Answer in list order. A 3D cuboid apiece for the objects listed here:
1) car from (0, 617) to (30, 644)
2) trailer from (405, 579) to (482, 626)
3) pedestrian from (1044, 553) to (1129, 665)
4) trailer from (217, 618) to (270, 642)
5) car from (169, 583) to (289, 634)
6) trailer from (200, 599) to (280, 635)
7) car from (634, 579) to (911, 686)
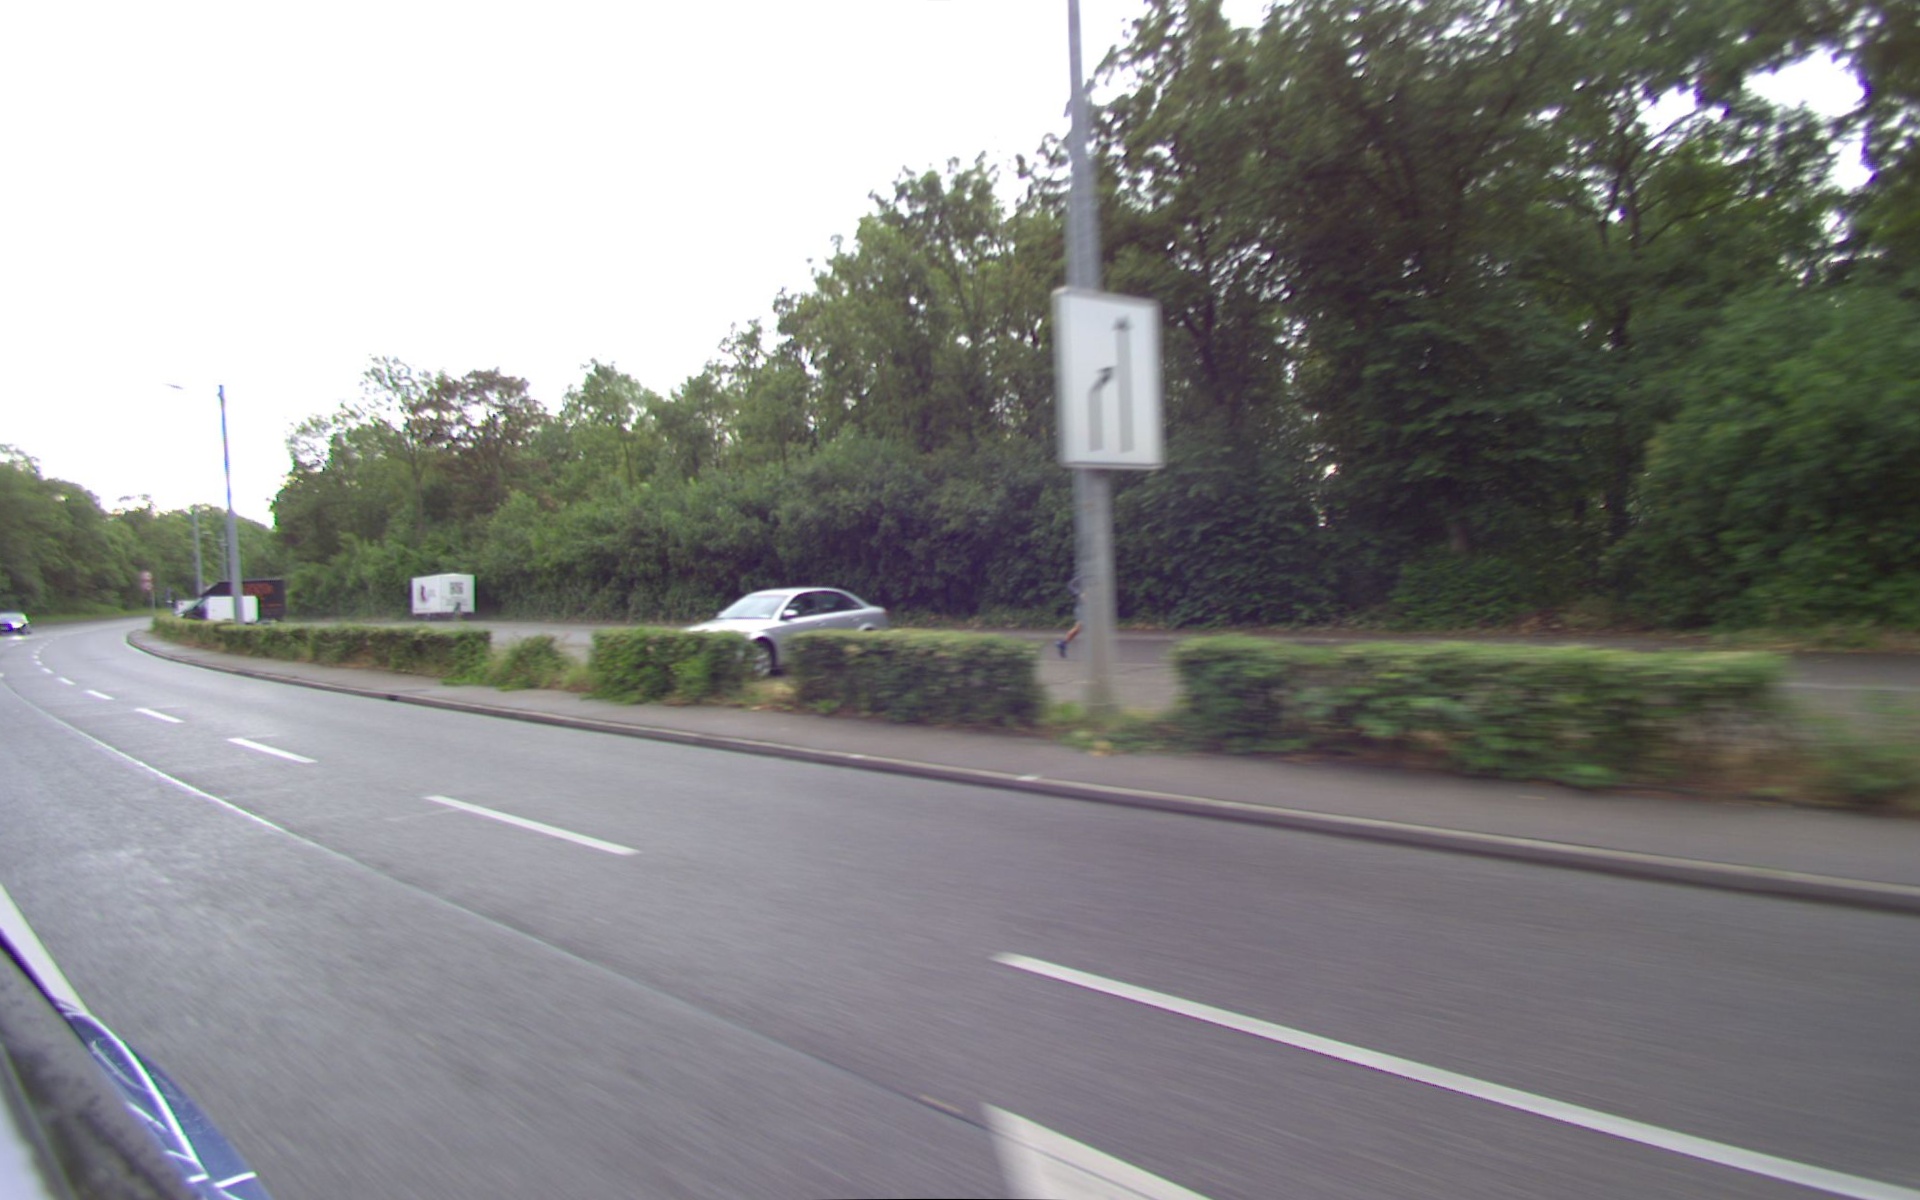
[{"bbox_3d":[-62.302,1.972,65.990,1.967,1.696,4.010,-1,0,-36],"label":"car"},{"bbox_3d":[-33.569,0.155,65.648,2.446,2.895,7.987,-1,0,-42],"label":"trailer"},{"bbox_3d":[2.137,0.148,17.121,1.136,1.811,0.808,-1,0,44],"label":"pedestrian"},{"bbox_3d":[-32.845,1.364,46.400,1.334,1.042,1.781,-1,1,45],"label":"trailer"},{"bbox_3d":[-48.584,0.475,67.340,6.196,3.136,2.755,-2,2,-42],"label":"car"},{"bbox_3d":[-44.979,1.036,63.240,3.936,2.068,1.876,-1,0,-39],"label":"trailer"},{"bbox_3d":[-3.052,0.460,17.368,1.996,1.517,4.535,-1,1,36],"label":"car"}]
